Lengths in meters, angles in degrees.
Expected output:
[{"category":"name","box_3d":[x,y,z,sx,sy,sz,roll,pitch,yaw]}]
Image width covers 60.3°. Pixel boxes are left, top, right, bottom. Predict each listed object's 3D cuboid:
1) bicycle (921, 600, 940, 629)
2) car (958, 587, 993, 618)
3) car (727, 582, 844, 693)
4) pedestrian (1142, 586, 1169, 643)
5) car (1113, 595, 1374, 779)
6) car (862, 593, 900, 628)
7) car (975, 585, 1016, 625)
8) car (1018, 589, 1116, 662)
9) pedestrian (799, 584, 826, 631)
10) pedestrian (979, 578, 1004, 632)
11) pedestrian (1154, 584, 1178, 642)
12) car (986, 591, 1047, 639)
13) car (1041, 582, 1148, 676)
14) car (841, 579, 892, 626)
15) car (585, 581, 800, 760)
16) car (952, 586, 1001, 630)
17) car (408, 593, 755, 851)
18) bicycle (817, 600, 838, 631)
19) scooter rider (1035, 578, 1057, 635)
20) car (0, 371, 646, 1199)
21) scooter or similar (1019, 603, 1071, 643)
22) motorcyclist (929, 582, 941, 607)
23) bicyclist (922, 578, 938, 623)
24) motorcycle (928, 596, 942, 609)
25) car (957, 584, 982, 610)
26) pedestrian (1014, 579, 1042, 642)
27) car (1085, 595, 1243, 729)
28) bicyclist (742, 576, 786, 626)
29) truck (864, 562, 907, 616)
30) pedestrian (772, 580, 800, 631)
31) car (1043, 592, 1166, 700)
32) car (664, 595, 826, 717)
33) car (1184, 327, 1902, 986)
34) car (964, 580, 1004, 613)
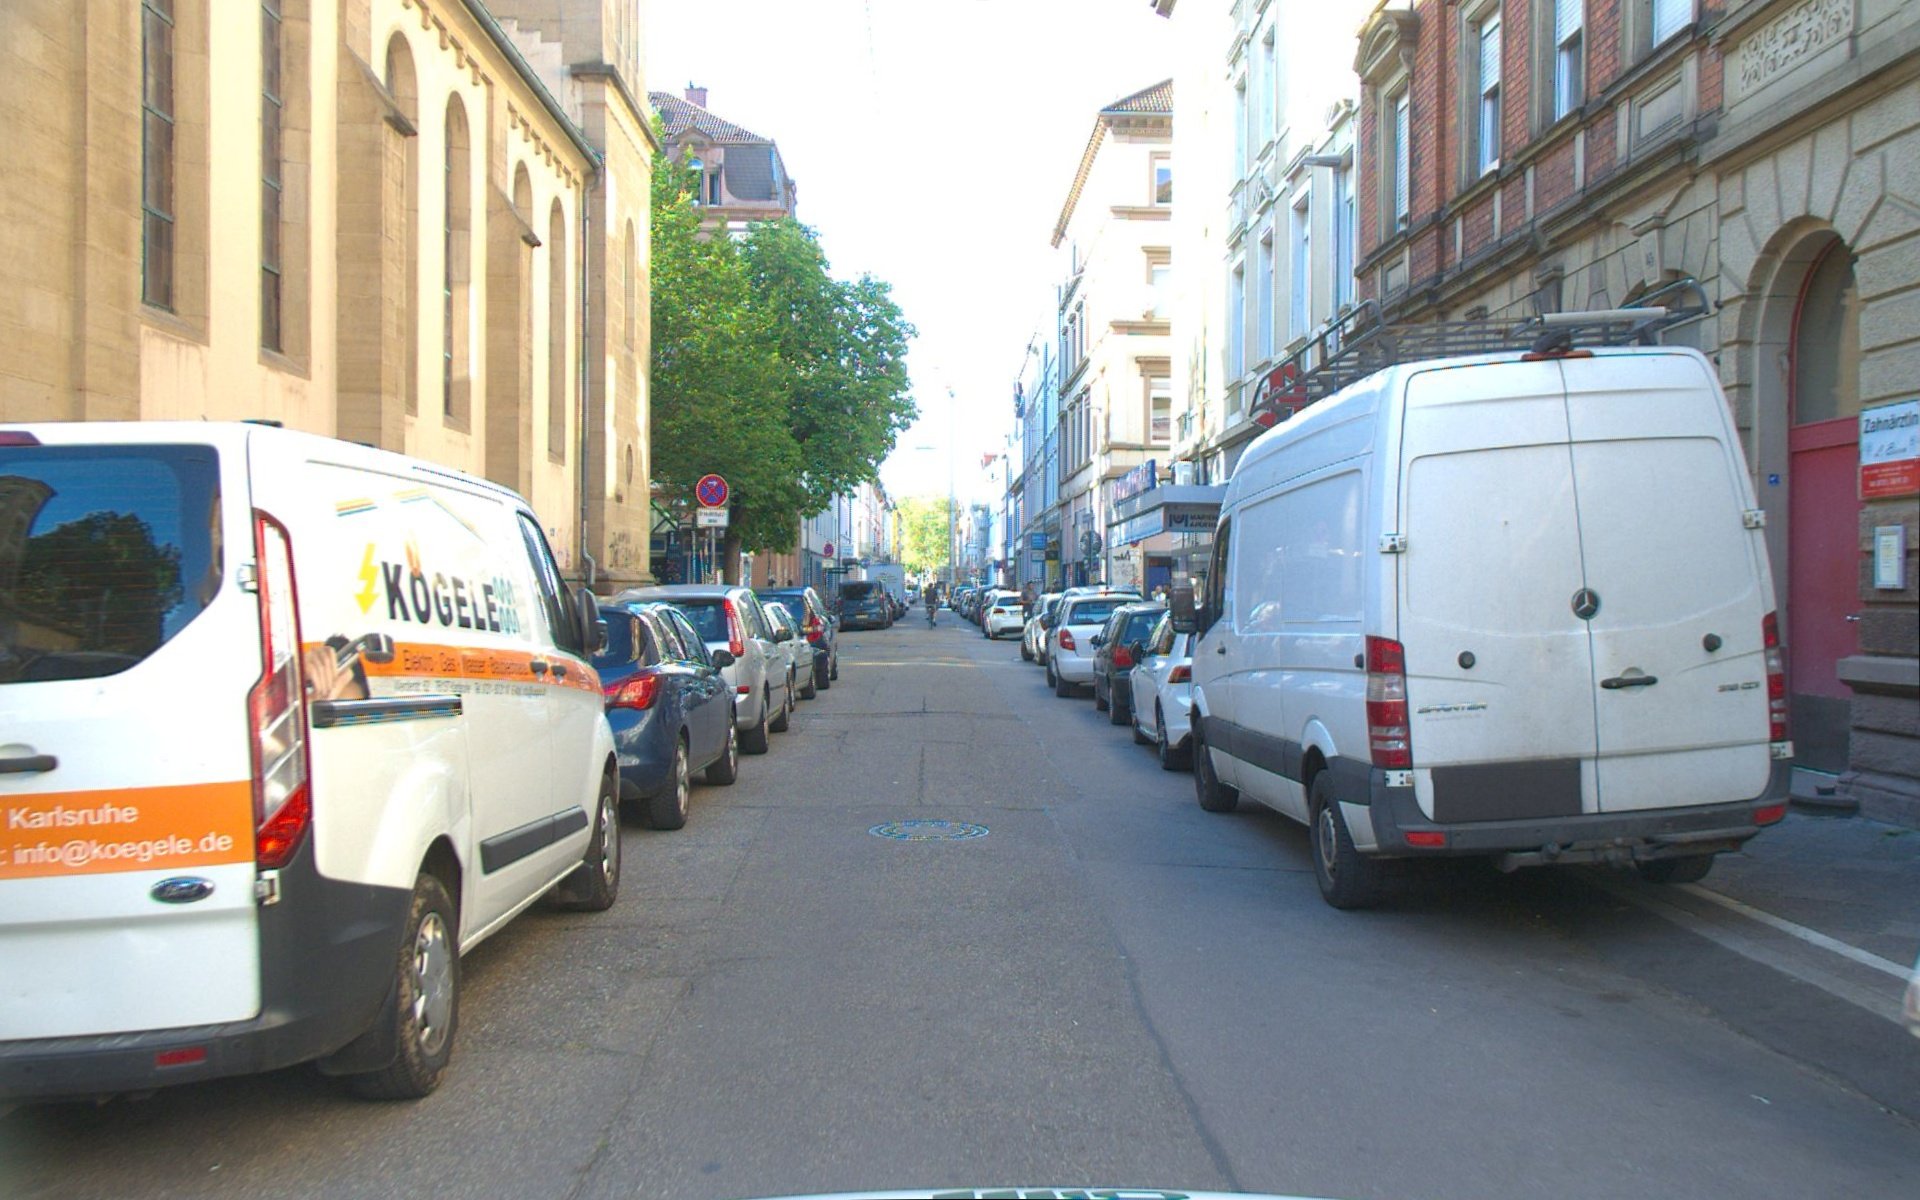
[{"category":"bicycle","box_3d":[-1.148,0.555,63.839,0.724,1.062,1.859,0,0,-1]},{"category":"car","box_3d":[0.929,0.148,99.401,1.953,1.715,3.999,3,0,-1]},{"category":"car","box_3d":[-2.806,0.568,27.235,1.568,1.642,3.807,-2,0,-2]},{"category":"pedestrian","box_3d":[5.778,0.418,48.882,0.539,1.671,0.598,0,0,-41]},{"category":"car","box_3d":[2.638,0.744,16.370,1.743,1.512,4.359,2,0,-1]},{"category":"car","box_3d":[-4.194,0.536,88.086,1.837,1.828,3.999,0,0,-1]},{"category":"car","box_3d":[1.574,0.207,75.077,1.733,1.771,4.000,0,0,-1]},{"category":"car","box_3d":[2.291,0.517,36.389,1.682,1.514,3.866,0,0,-4]},{"category":"pedestrian","box_3d":[-5.353,0.267,60.005,0.910,1.666,0.806,0,0,0]},{"category":"pedestrian","box_3d":[1.110,0.178,58.362,0.767,1.875,1.010,1,0,-6]},{"category":"pedestrian","box_3d":[5.957,0.379,47.831,0.454,1.671,0.495,0,0,-41]},{"category":"car","box_3d":[1.822,0.466,54.539,1.859,1.514,3.869,0,0,-1]},{"category":"car","box_3d":[2.502,0.508,31.548,1.681,1.674,3.999,0,0,-1]},{"category":"car","box_3d":[-3.712,0.094,66.311,1.837,1.828,3.999,0,0,-1]},{"category":"car","box_3d":[-2.599,0.633,16.865,1.639,1.586,3.998,-1,0,-2]},{"category":"car","box_3d":[0.640,0.303,65.989,1.859,1.680,3.999,0,0,-1]},{"category":"car","box_3d":[-2.485,0.712,11.780,1.582,1.477,3.949,-1,0,-1]},{"category":"bicycle","box_3d":[-5.090,0.589,63.513,0.633,1.128,1.600,0,0,-12]},{"category":"scooter rider","box_3d":[2.513,0.191,48.364,0.636,1.671,0.684,0,0,5]},{"category":"car","box_3d":[-2.467,0.483,6.040,1.826,1.991,4.609,-1,0,-2]},{"category":"scooter or similar","box_3d":[2.479,0.674,48.343,1.497,1.159,0.601,0,0,4]},{"category":"motorcyclist","box_3d":[-2.036,-0.425,134.775,0.884,2.049,1.190,0,0,-3]},{"category":"bicyclist","box_3d":[-1.149,0.026,63.914,0.593,1.717,0.885,0,0,-1]},{"category":"motorcycle","box_3d":[-2.014,0.180,134.543,1.021,0.997,2.823,0,0,-3]},{"category":"car","box_3d":[0.742,-0.242,131.066,1.953,2.049,3.999,0,0,-1]},{"category":"pedestrian","box_3d":[2.024,0.302,49.510,0.669,1.875,0.692,1,0,-12]},{"category":"car","box_3d":[2.537,0.728,21.294,1.537,1.521,3.653,2,0,0]},{"category":"bicyclist","box_3d":[-5.294,0.028,44.610,1.043,1.329,0.753,0,0,-20]},{"category":"truck","box_3d":[-4.674,-0.698,104.738,2.480,3.339,6.993,0,0,-1]},{"category":"pedestrian","box_3d":[-6.274,0.186,59.653,0.910,1.817,0.806,0,0,0]},{"category":"car","box_3d":[2.208,0.660,26.092,1.571,1.531,4.000,2,0,0]},{"category":"car","box_3d":[-2.828,0.694,22.515,1.538,1.422,3.809,-3,0,2]},{"category":"car","box_3d":[2.778,0.207,9.678,2.026,2.656,5.887,1,0,-1]},{"category":"car","box_3d":[1.256,-0.181,88.616,1.953,1.660,3.999,3,0,-1]}]
